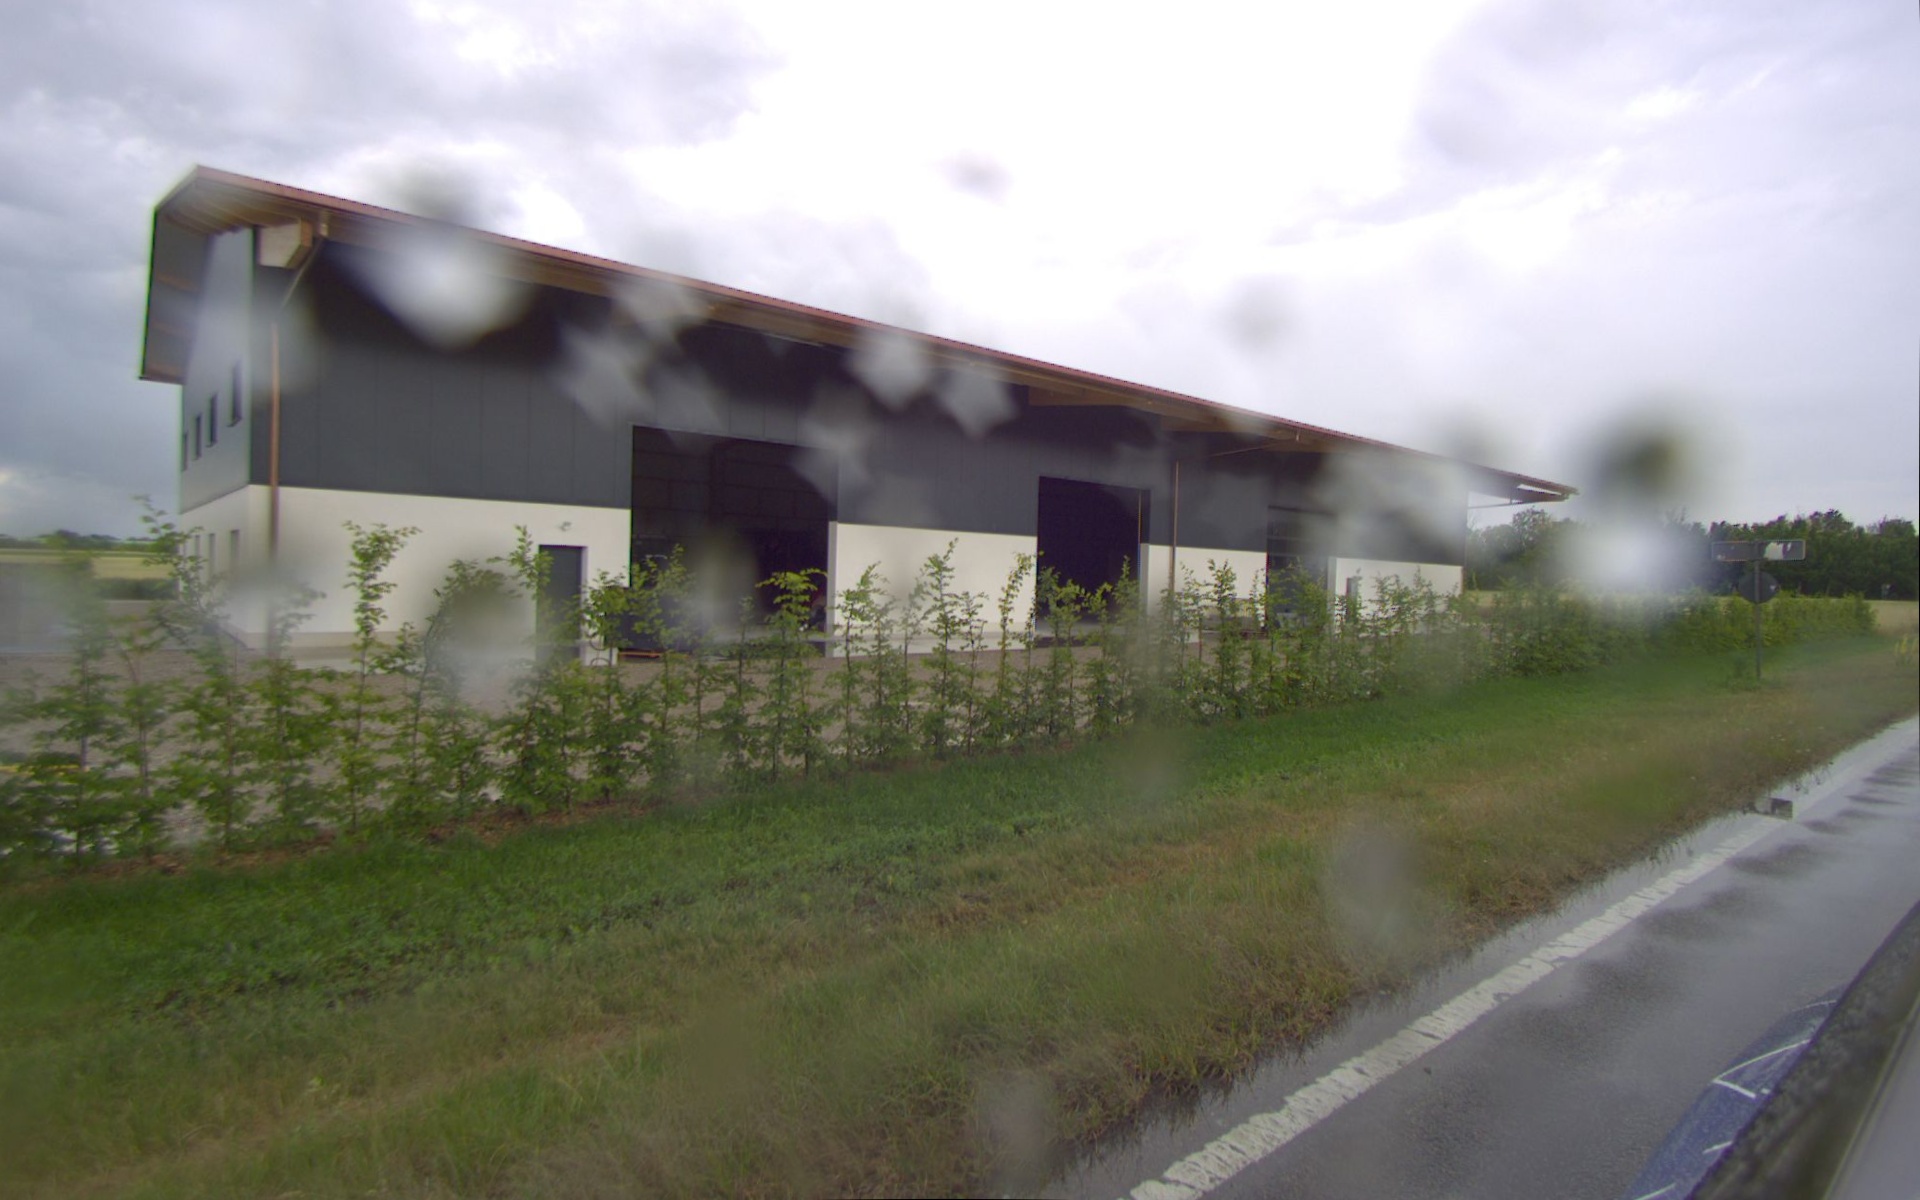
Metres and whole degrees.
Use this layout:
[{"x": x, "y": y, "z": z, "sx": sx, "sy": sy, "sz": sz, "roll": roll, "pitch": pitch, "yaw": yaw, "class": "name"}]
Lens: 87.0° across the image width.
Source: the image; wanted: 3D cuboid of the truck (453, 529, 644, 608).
[{"x": -14.782, "y": -1.101, "z": 36.635, "sx": 6.047, "sy": 2.639, "sz": 2.122, "roll": 0, "pitch": 2, "yaw": -40, "class": "truck"}]

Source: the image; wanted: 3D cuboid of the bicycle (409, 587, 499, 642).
[{"x": -10.518, "y": 0.291, "z": 21.067, "sx": 1.631, "sy": 1.085, "sz": 0.391, "roll": 0, "pitch": 2, "yaw": -41, "class": "bicycle"}]
